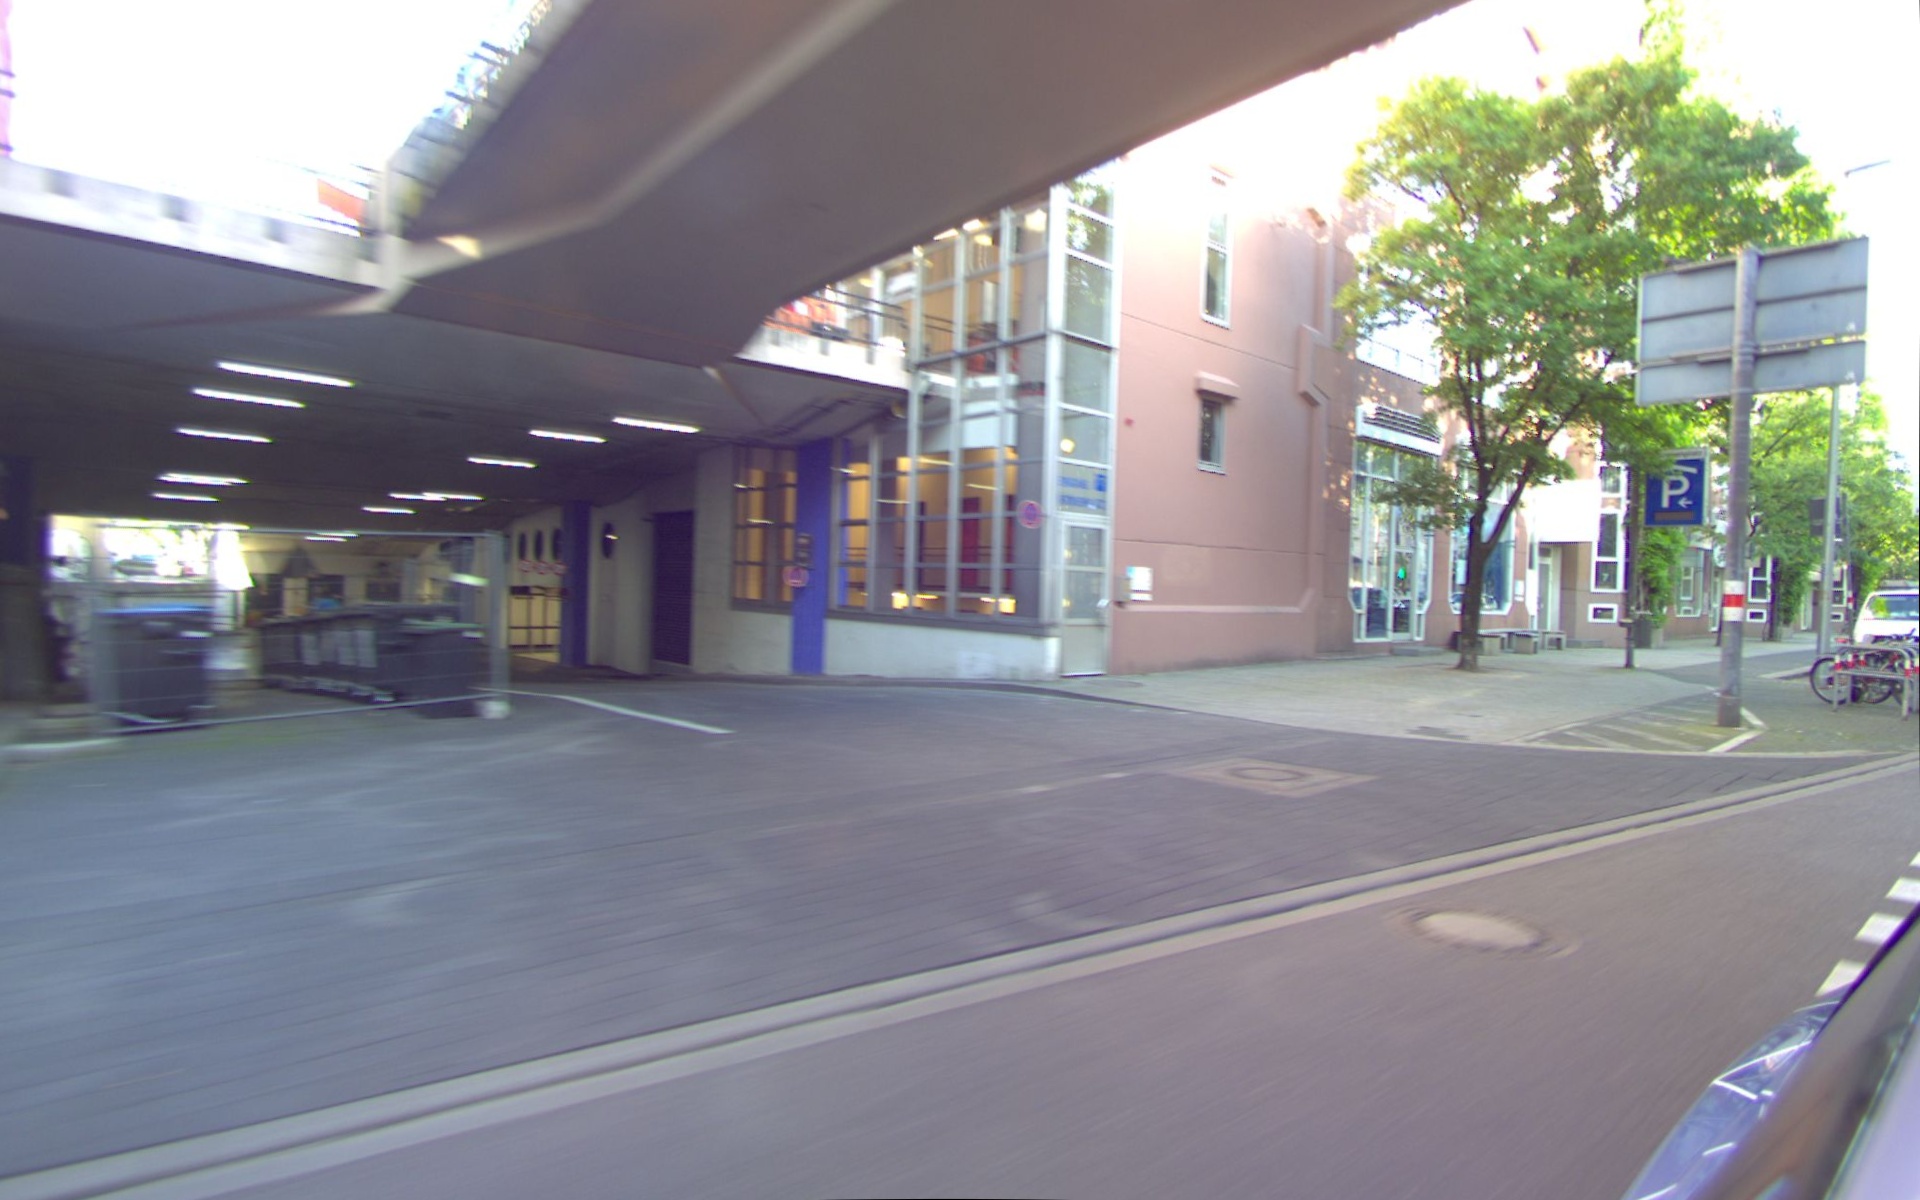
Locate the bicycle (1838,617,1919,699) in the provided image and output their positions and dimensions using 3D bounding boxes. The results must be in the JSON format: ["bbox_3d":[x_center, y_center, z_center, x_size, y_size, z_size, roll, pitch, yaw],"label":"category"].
[{"bbox_3d":[13.128,0.794,13.924,0.490,1.081,1.685,1,0,-7],"label":"bicycle"}]

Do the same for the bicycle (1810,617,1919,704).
[{"bbox_3d":[12.405,0.786,13.542,0.490,1.081,1.685,1,0,-7],"label":"bicycle"}]

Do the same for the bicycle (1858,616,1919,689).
[{"bbox_3d":[14.783,0.814,15.371,0.500,1.081,1.686,1,0,-18],"label":"bicycle"}]

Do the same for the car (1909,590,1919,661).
[{"bbox_3d":[24.683,0.629,24.752,4.128,1.691,1.790,0,1,-42],"label":"car"}]

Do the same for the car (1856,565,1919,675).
[{"bbox_3d":[20.399,0.398,21.165,5.081,2.105,1.921,0,1,-42],"label":"car"}]
